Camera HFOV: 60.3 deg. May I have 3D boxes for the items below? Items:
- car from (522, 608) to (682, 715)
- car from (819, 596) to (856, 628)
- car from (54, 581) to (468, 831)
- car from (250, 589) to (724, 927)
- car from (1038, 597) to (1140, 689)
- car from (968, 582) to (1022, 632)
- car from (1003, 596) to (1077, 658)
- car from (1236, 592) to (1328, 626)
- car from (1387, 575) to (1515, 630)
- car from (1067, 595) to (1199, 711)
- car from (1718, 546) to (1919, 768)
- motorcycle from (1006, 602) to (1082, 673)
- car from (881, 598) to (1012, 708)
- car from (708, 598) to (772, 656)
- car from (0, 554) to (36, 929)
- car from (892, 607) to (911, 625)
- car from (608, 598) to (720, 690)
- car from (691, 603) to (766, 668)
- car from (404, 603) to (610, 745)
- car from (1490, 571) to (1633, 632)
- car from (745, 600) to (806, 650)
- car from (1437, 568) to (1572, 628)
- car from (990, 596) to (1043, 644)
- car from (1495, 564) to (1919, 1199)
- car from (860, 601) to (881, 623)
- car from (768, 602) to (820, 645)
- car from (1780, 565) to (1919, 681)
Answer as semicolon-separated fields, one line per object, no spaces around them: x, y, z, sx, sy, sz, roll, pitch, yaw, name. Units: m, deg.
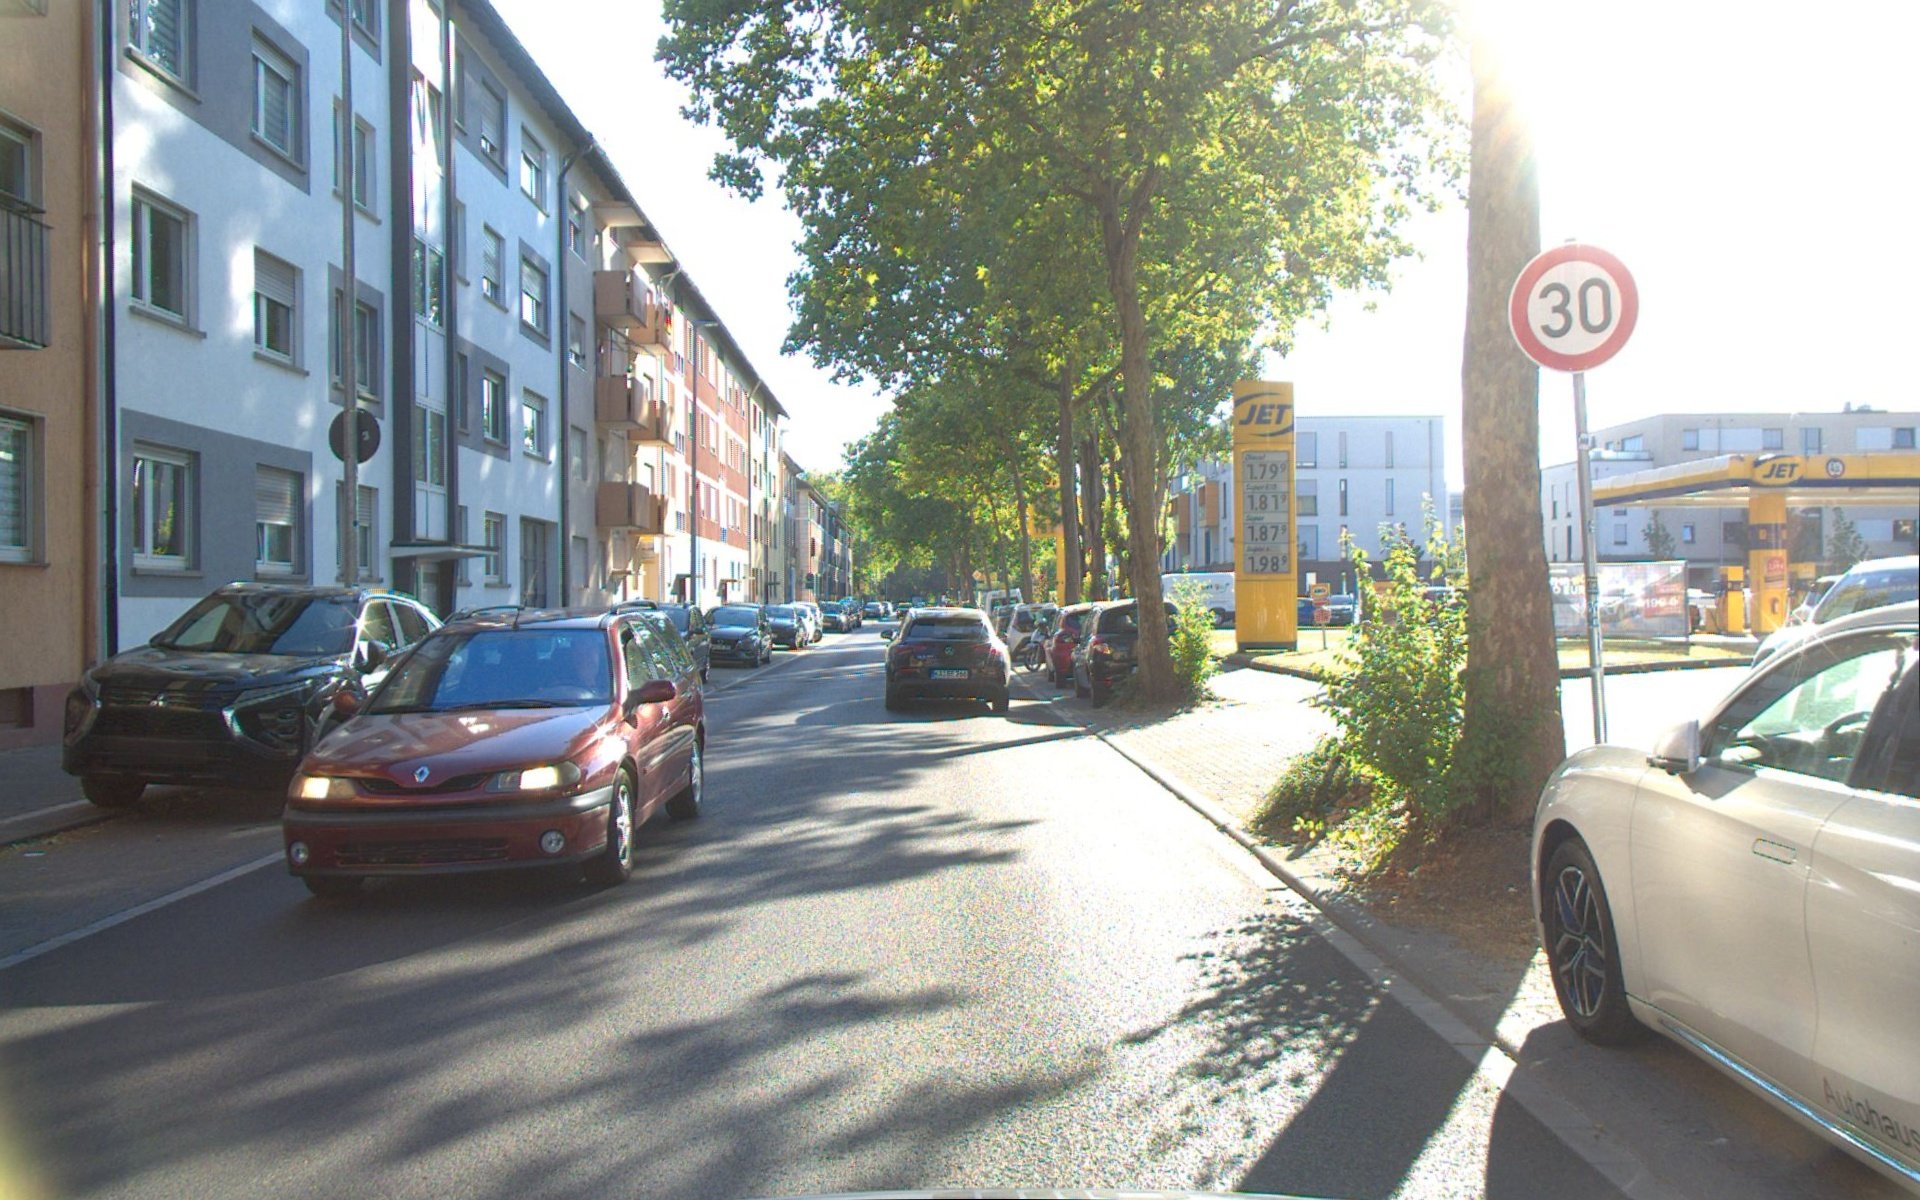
-5.402;0.874;25.431;1.564;1.459;4.216;1;0;-1;car
-6.489;0.628;87.902;1.678;1.589;3.800;3;0;-1;car
-5.375;0.714;13.382;1.564;1.669;4.411;1;0;-2;car
-2.573;0.750;10.118;1.630;1.550;4.411;-2;0;-1;car
2.389;0.792;31.364;1.528;1.624;3.599;1;-1;-2;car
1.443;0.334;69.850;1.954;2.049;3.996;0;-1;-4;car
2.122;0.700;44.768;1.687;1.584;3.600;-1;0;-2;car
15.121;0.427;77.777;3.907;1.556;1.806;0;-2;-3;car
16.560;0.082;55.841;3.767;1.741;1.831;-1;0;-19;car
2.583;0.770;25.311;1.528;1.624;3.599;1;-1;-2;car
8.030;0.362;13.614;3.781;1.606;1.722;-2;1;-38;car
1.899;0.844;37.412;1.619;1.585;0.607;1;-1;-23;motorcycle
-0.123;0.718;24.497;1.708;1.469;3.970;1;0;2;car
-6.539;0.779;49.416;1.679;1.589;3.793;3;0;-6;car
-5.438;0.679;5.984;1.710;1.819;4.547;1;0;-2;car
-5.916;1.625;166.680;1.863;1.690;3.998;0;-1;-2;car
-5.692;0.800;32.186;1.564;1.658;3.836;1;0;-2;car
-5.884;0.872;42.420;1.679;1.490;3.793;3;0;-6;car
-5.457;0.827;20.379;1.516;1.550;4.003;1;0;-2;car
16.956;0.037;46.584;3.782;1.616;1.682;-1;0;-28;car
-6.453;0.853;58.142;1.678;1.589;3.800;3;0;-1;car
16.798;-0.059;51.016;3.782;1.741;1.824;-1;0;-28;car
1.909;0.681;56.651;1.600;1.585;3.599;1;-1;-2;car
2.941;0.668;3.957;1.773;1.565;4.583;-3;-1;0;car
-8.318;1.154;153.922;1.868;1.982;3.998;0;-1;-2;car
-6.631;0.915;66.278;1.678;1.589;3.800;3;0;-1;car
15.026;0.329;26.864;2.122;1.749;3.978;-2;0;41;car
